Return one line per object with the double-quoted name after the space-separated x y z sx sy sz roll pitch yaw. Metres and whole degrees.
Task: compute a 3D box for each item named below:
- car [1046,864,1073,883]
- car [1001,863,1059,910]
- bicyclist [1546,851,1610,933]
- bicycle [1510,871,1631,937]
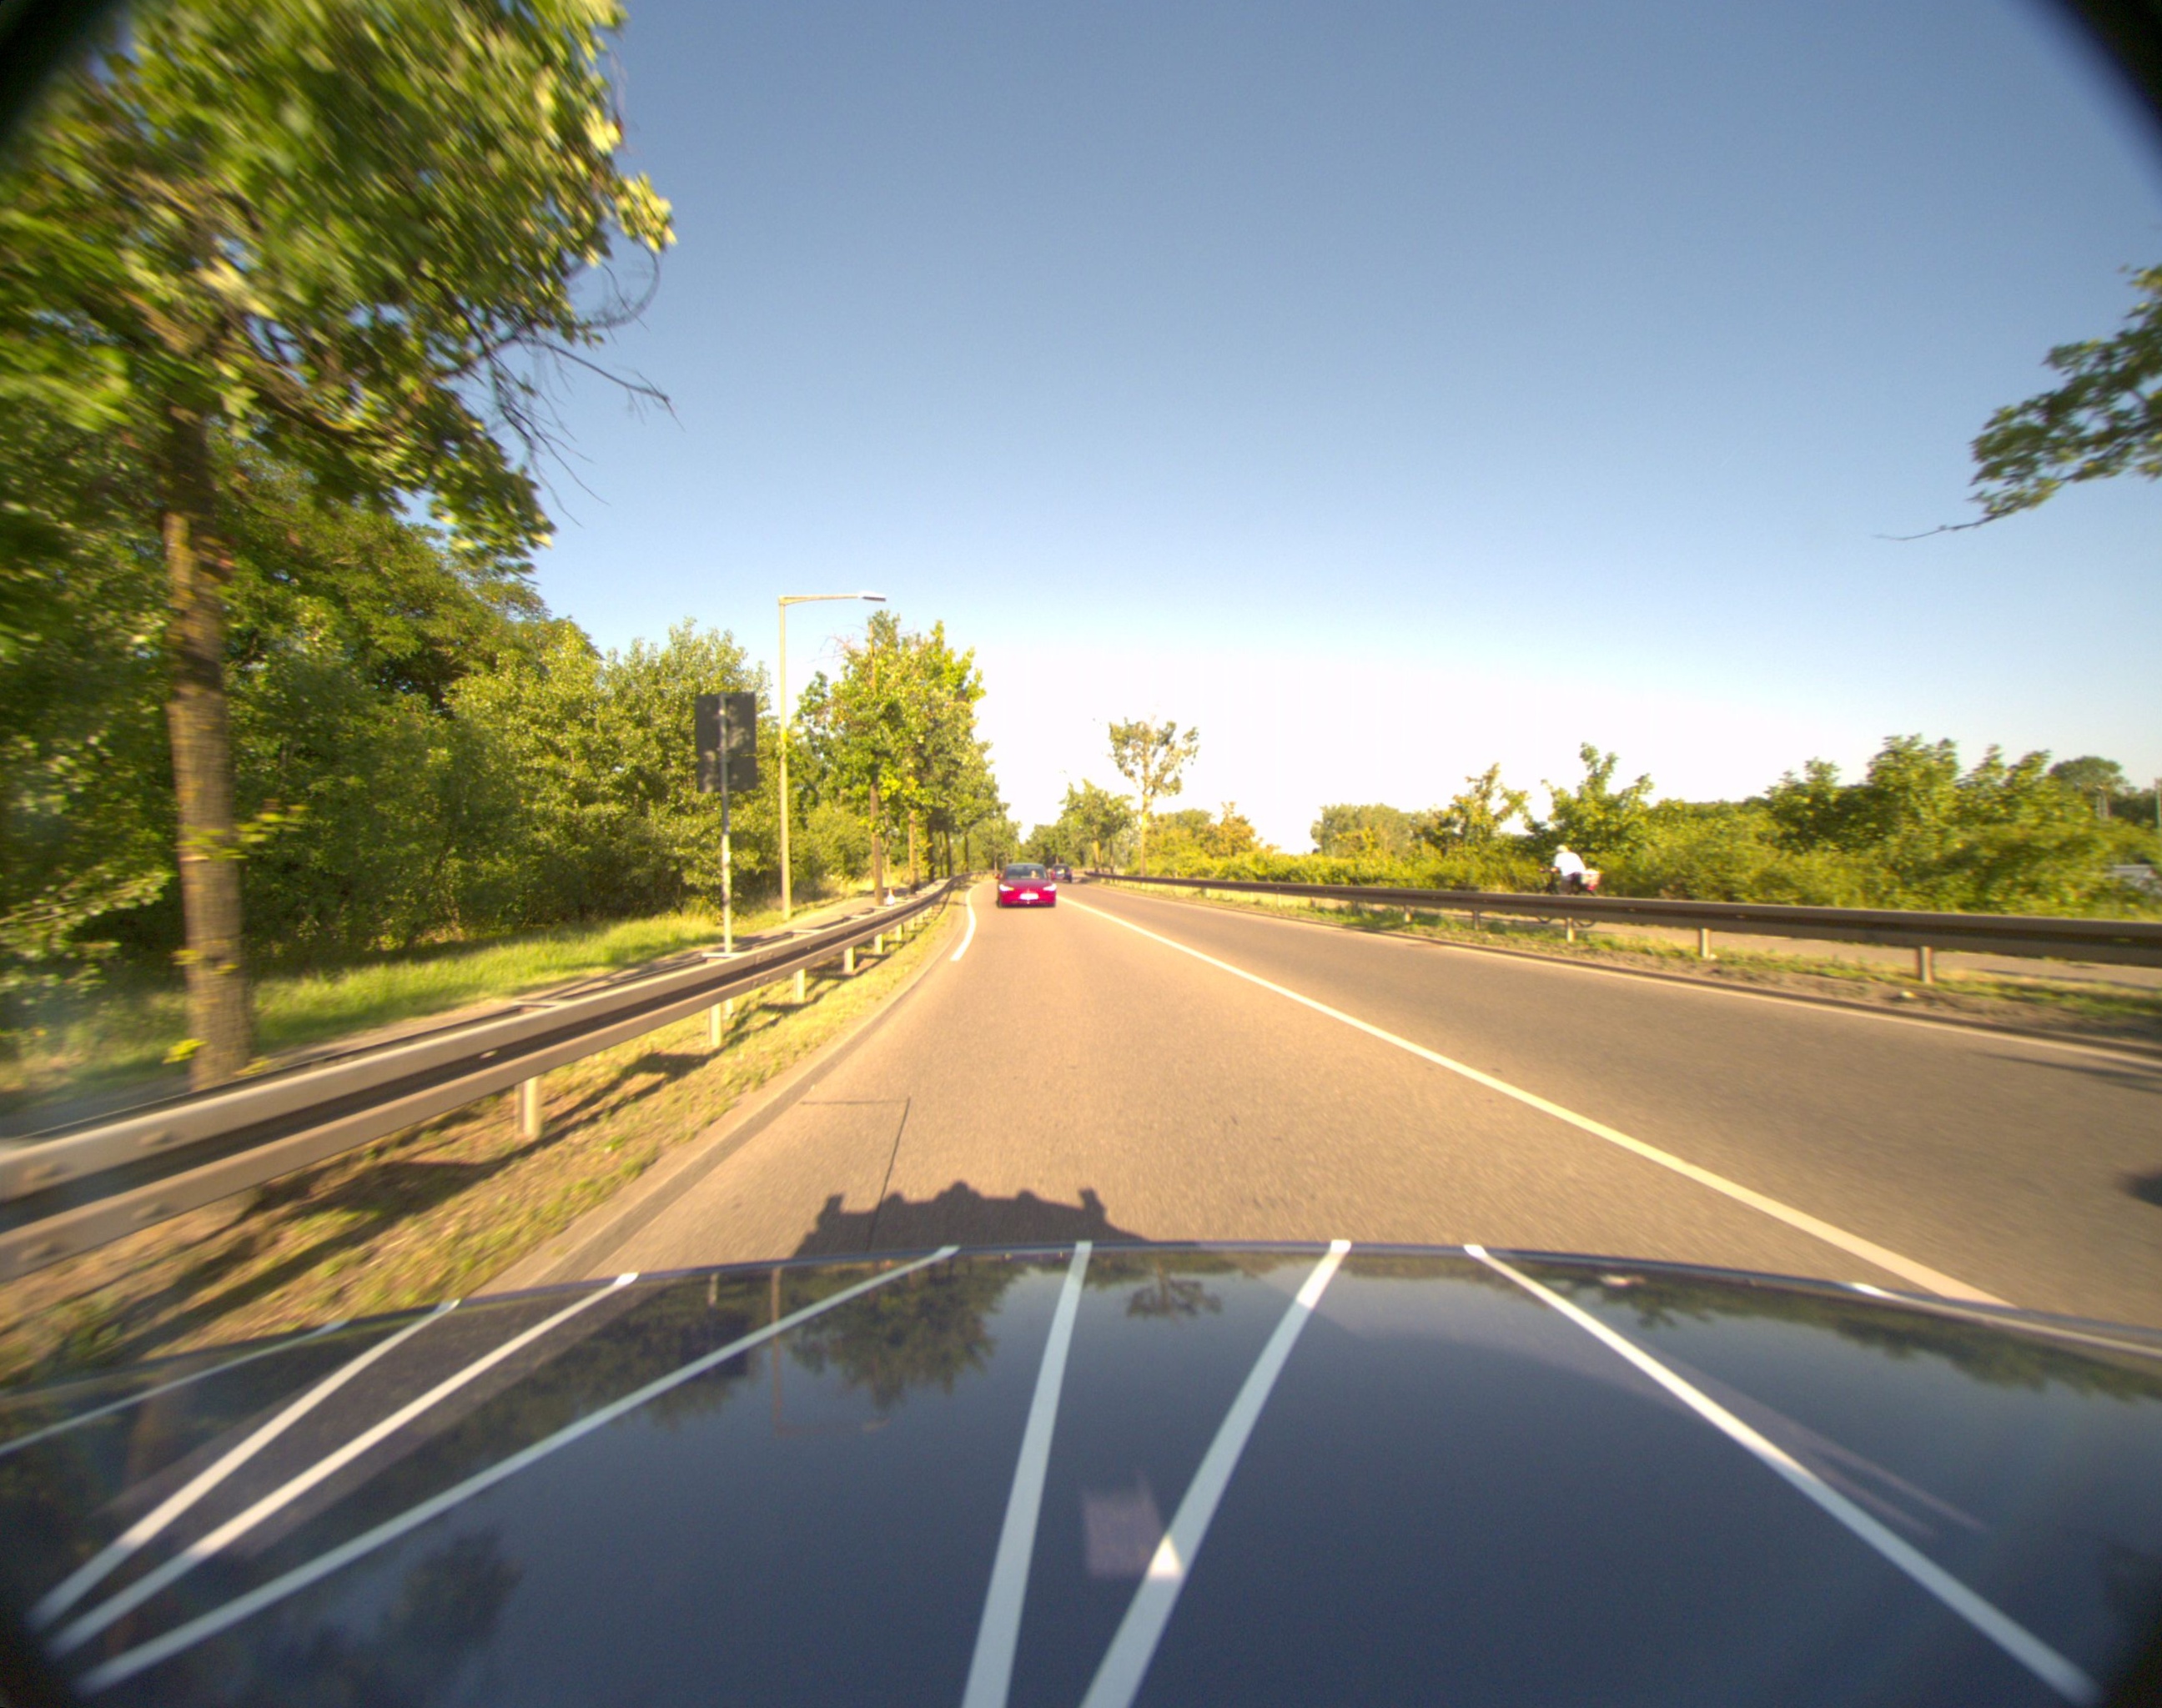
-1.701 1.451 58.771 1.688 1.415 3.856 0 -1 -8 "car"
-1.814 1.037 25.876 1.782 1.433 4.357 0 0 -6 "car"
9.147 0.678 14.010 0.601 1.450 0.828 0 0 -6 "bicyclist"
9.105 0.890 14.277 0.584 1.070 2.311 0 0 -6 "bicycle"
